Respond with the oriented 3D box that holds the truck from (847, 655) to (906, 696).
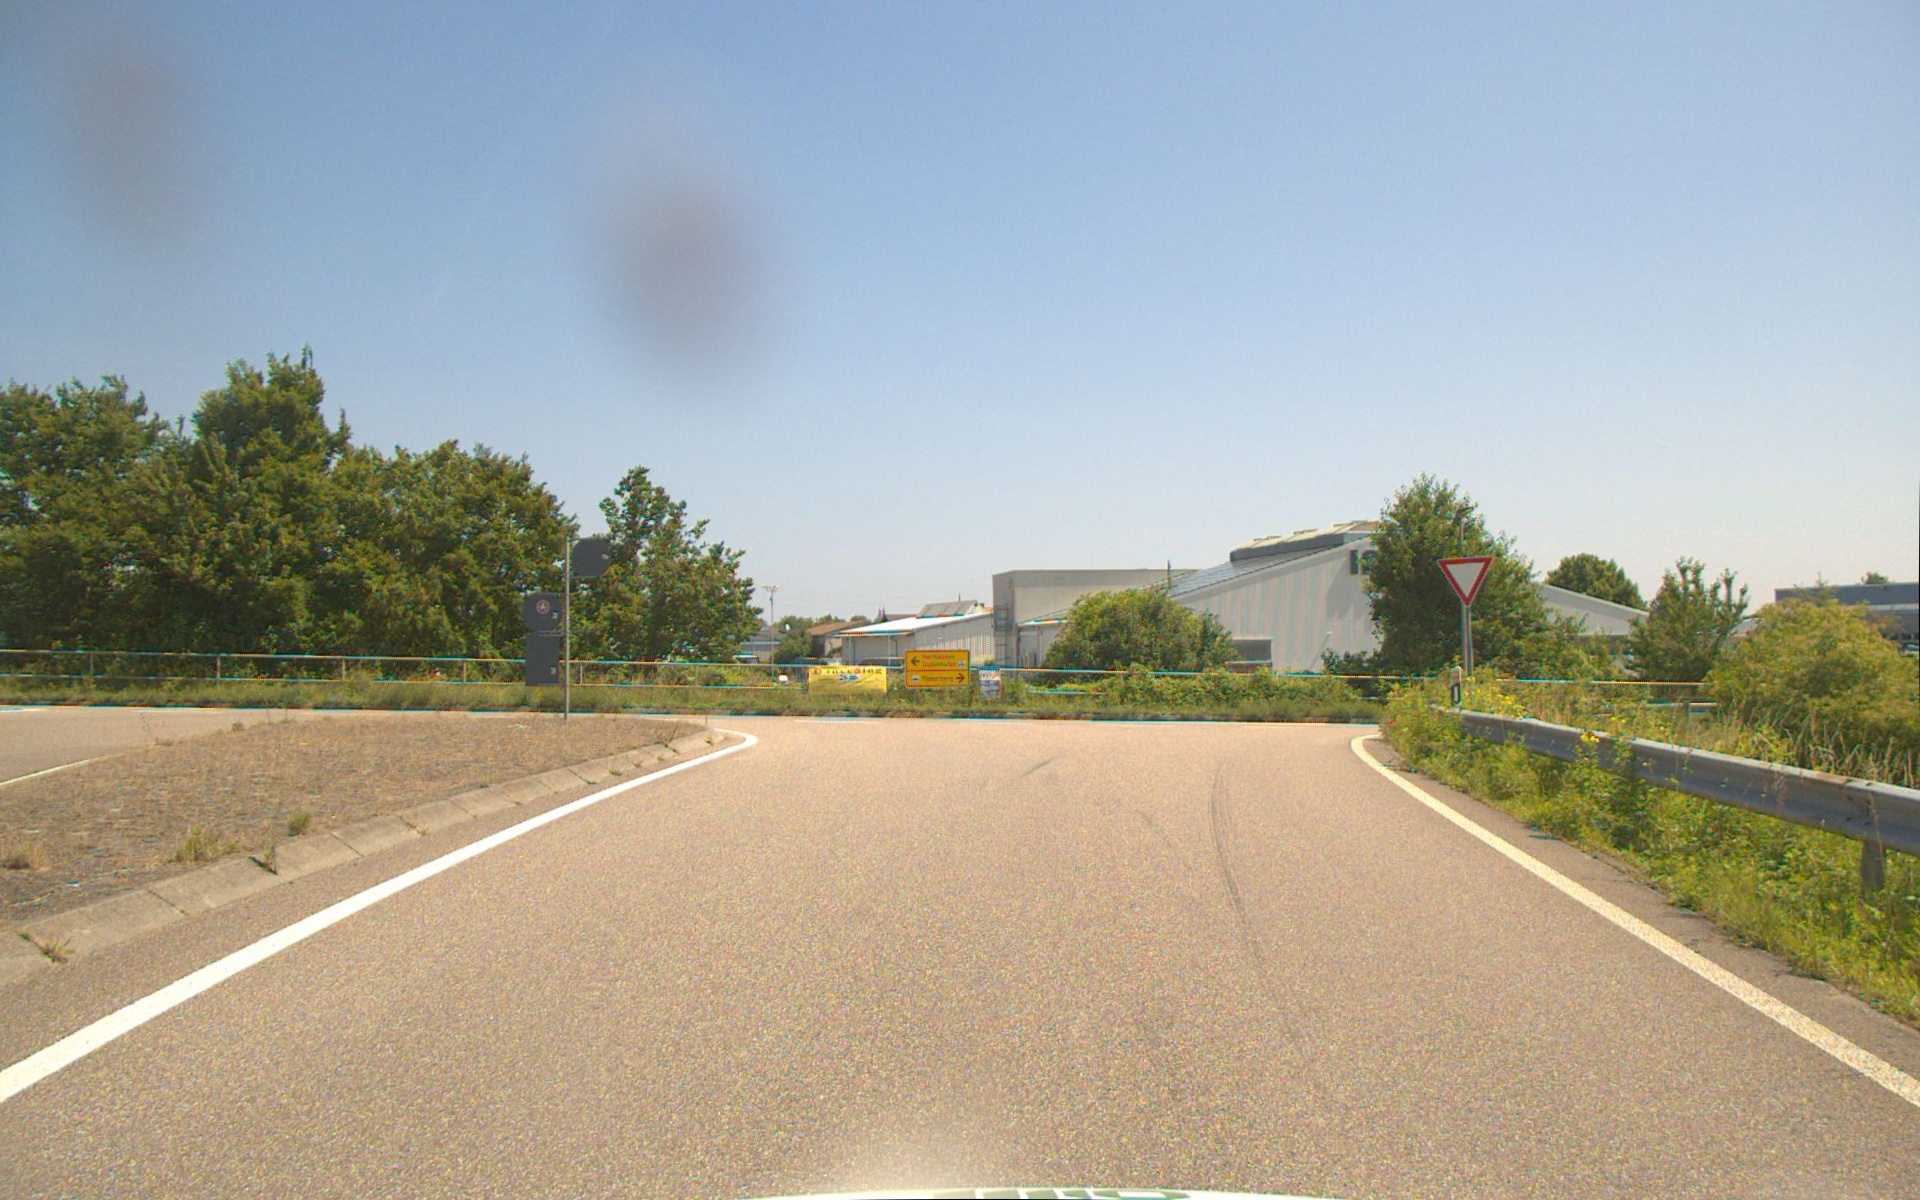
[{"bbox_3d":[-9.259,8.243,181.244,3.647,4.387,13.283,1,-3,-15],"label":"truck"}]
